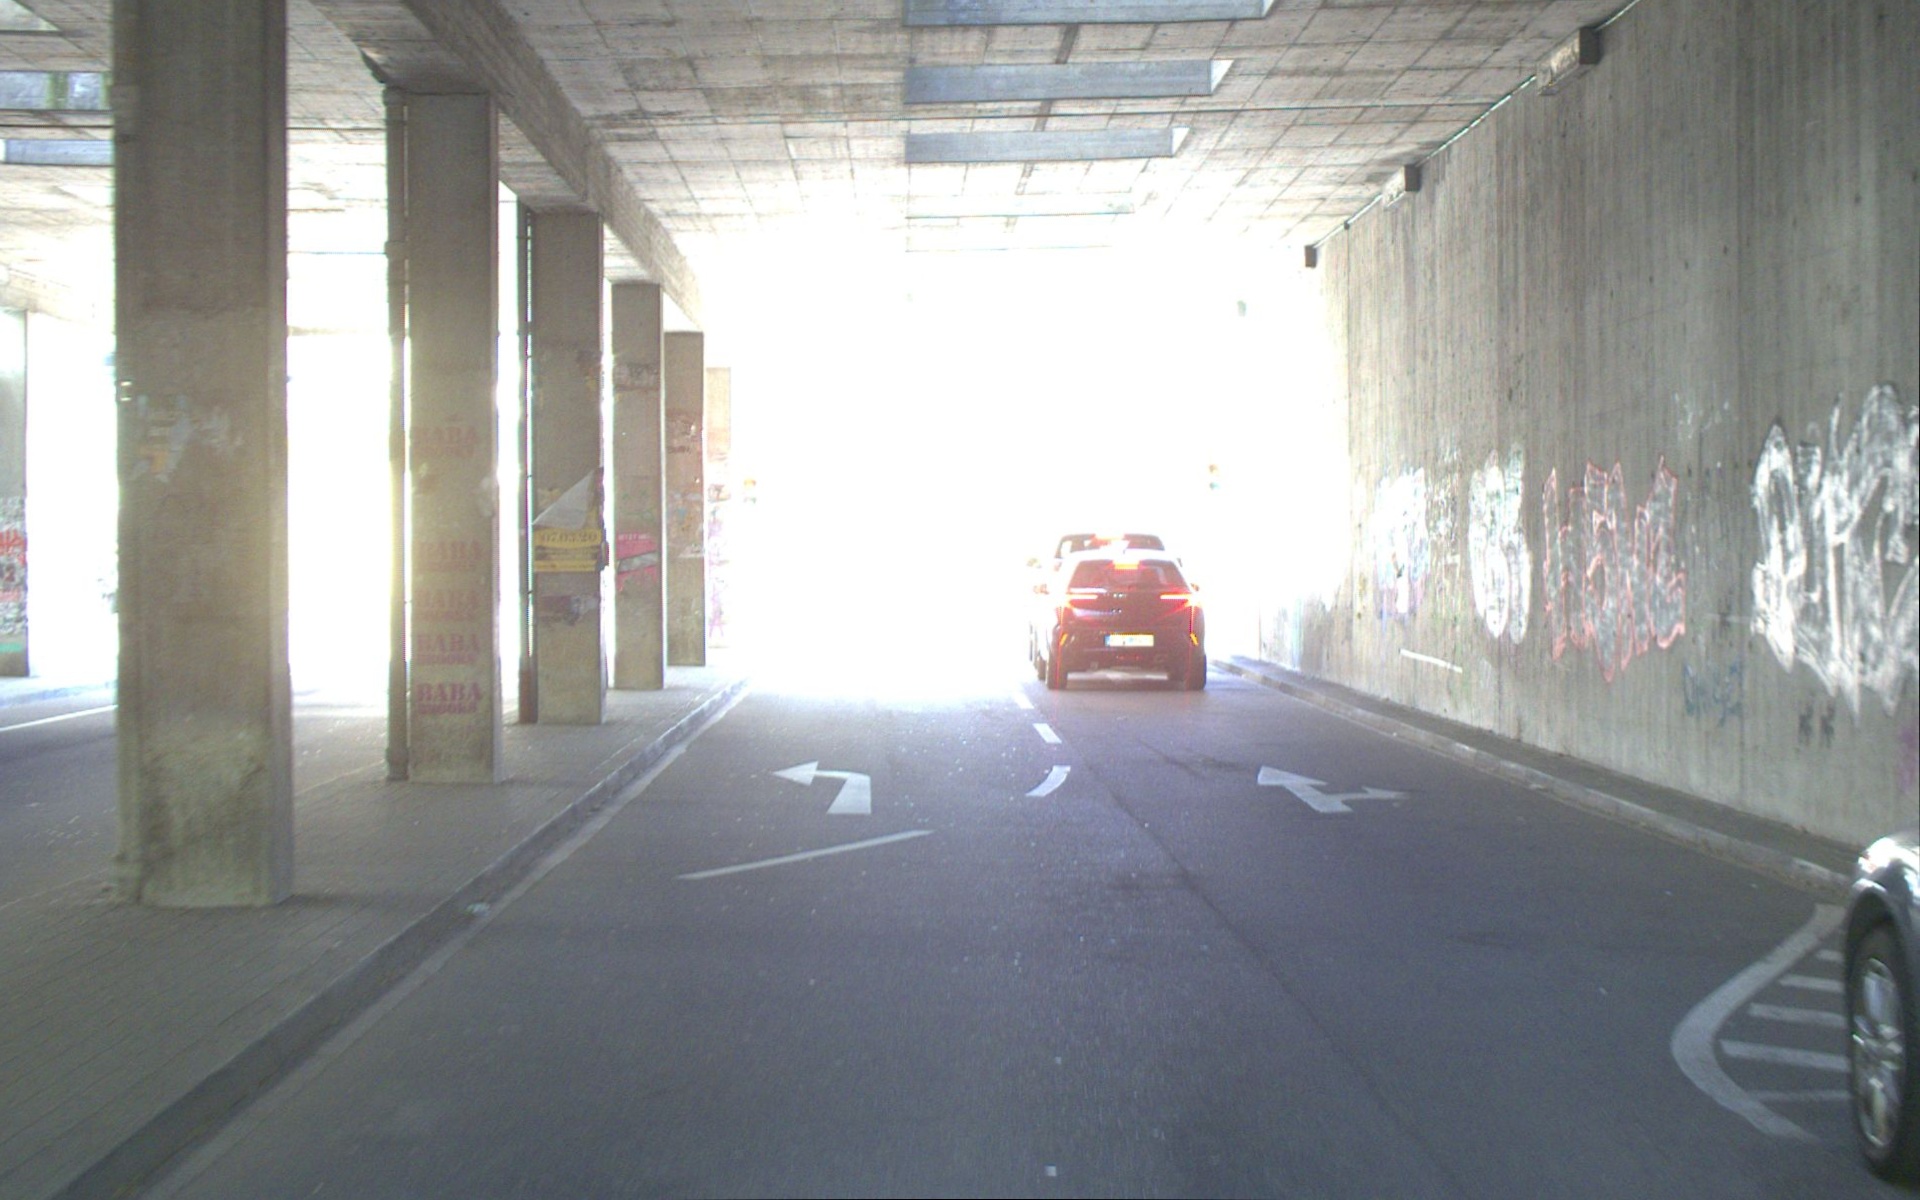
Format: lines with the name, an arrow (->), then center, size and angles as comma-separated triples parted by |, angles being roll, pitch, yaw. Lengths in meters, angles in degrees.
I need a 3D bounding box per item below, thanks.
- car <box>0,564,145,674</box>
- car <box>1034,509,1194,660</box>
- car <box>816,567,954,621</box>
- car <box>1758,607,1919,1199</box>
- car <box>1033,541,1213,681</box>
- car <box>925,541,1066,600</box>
car -> -18.232, 0.350, 66.404 | 4.479, 2.006, 2.000 | 0, 3, -1
car -> 1.994, -0.233, 45.731 | 1.815, 1.876, 4.586 | -1, 1, -1
car -> -2.235, -0.186, 102.484 | 3.987, 1.568, 1.639 | 0, 0, 3
car -> 3.011, 0.740, 6.827 | 1.701, 1.370, 4.374 | 0, 1, -2
car -> 1.811, 0.082, 39.330 | 1.826, 1.496, 4.211 | 0, 1, 0
car -> 1.104, -0.915, 106.233 | 4.152, 1.733, 2.000 | -1, 1, 7
